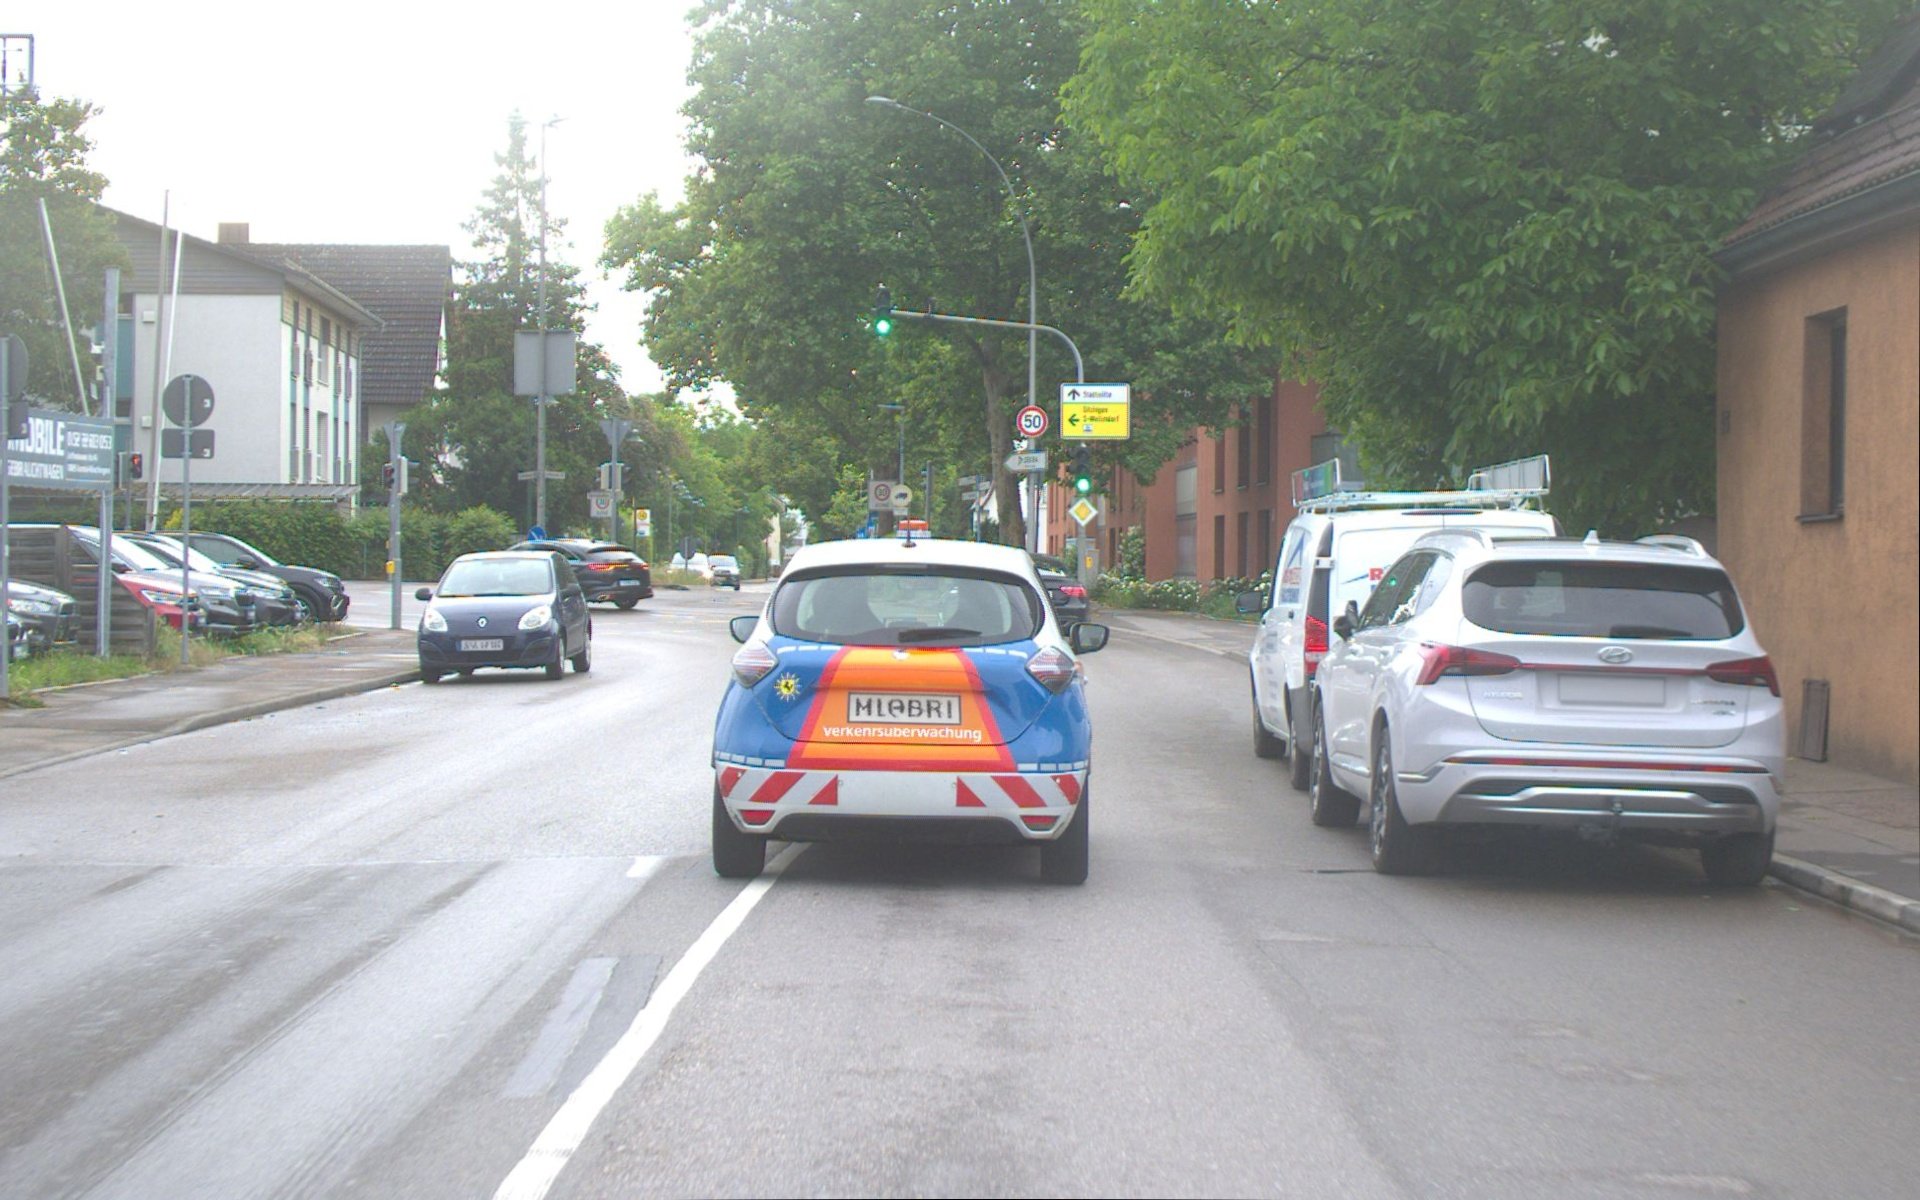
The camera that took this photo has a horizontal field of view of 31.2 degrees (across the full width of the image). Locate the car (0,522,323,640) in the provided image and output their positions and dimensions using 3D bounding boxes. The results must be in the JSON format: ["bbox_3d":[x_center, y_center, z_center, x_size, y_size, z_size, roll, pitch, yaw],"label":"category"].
[{"bbox_3d":[-10.800,-0.270,46.412,3.987,1.436,1.803,2,2,2],"label":"car"}]

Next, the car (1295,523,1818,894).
[{"bbox_3d":[2.942,0.456,17.889,1.865,1.659,4.320,1,1,-1],"label":"car"}]

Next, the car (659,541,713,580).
[{"bbox_3d":[-10.774,-1.548,135.237,1.942,1.447,4.300,3,0,-3],"label":"car"}]

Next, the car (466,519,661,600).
[{"bbox_3d":[-7.906,-0.815,68.271,1.795,1.423,3.998,0,3,-43],"label":"car"}]

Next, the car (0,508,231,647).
[{"bbox_3d":[-10.947,-0.306,41.183,3.987,1.538,1.803,2,2,2],"label":"car"}]

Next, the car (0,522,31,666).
[{"bbox_3d":[-11.704,-0.095,34.239,4.347,1.427,1.959,1,1,0],"label":"car"}]

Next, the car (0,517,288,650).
[{"bbox_3d":[-10.831,-0.234,44.136,3.987,1.538,1.803,2,2,2],"label":"car"}]

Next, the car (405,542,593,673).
[{"bbox_3d":[-5.333,0.055,40.124,1.626,1.428,3.683,1,1,1],"label":"car"}]

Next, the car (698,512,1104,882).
[{"bbox_3d":[-0.279,0.368,16.845,1.746,1.575,4.001,0,2,-1],"label":"car"}]

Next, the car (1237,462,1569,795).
[{"bbox_3d":[2.963,0.095,23.920,1.778,2.022,4.754,2,2,2],"label":"car"}]

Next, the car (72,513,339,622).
[{"bbox_3d":[-11.669,-0.512,53.355,3.945,1.525,1.623,2,2,-10],"label":"car"}]

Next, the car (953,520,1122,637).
[{"bbox_3d":[1.197,-0.353,51.260,1.994,1.568,3.999,2,2,8],"label":"car"}]

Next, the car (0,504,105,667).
[{"bbox_3d":[-11.559,-0.205,36.694,4.347,1.684,1.959,1,1,0],"label":"car"}]
